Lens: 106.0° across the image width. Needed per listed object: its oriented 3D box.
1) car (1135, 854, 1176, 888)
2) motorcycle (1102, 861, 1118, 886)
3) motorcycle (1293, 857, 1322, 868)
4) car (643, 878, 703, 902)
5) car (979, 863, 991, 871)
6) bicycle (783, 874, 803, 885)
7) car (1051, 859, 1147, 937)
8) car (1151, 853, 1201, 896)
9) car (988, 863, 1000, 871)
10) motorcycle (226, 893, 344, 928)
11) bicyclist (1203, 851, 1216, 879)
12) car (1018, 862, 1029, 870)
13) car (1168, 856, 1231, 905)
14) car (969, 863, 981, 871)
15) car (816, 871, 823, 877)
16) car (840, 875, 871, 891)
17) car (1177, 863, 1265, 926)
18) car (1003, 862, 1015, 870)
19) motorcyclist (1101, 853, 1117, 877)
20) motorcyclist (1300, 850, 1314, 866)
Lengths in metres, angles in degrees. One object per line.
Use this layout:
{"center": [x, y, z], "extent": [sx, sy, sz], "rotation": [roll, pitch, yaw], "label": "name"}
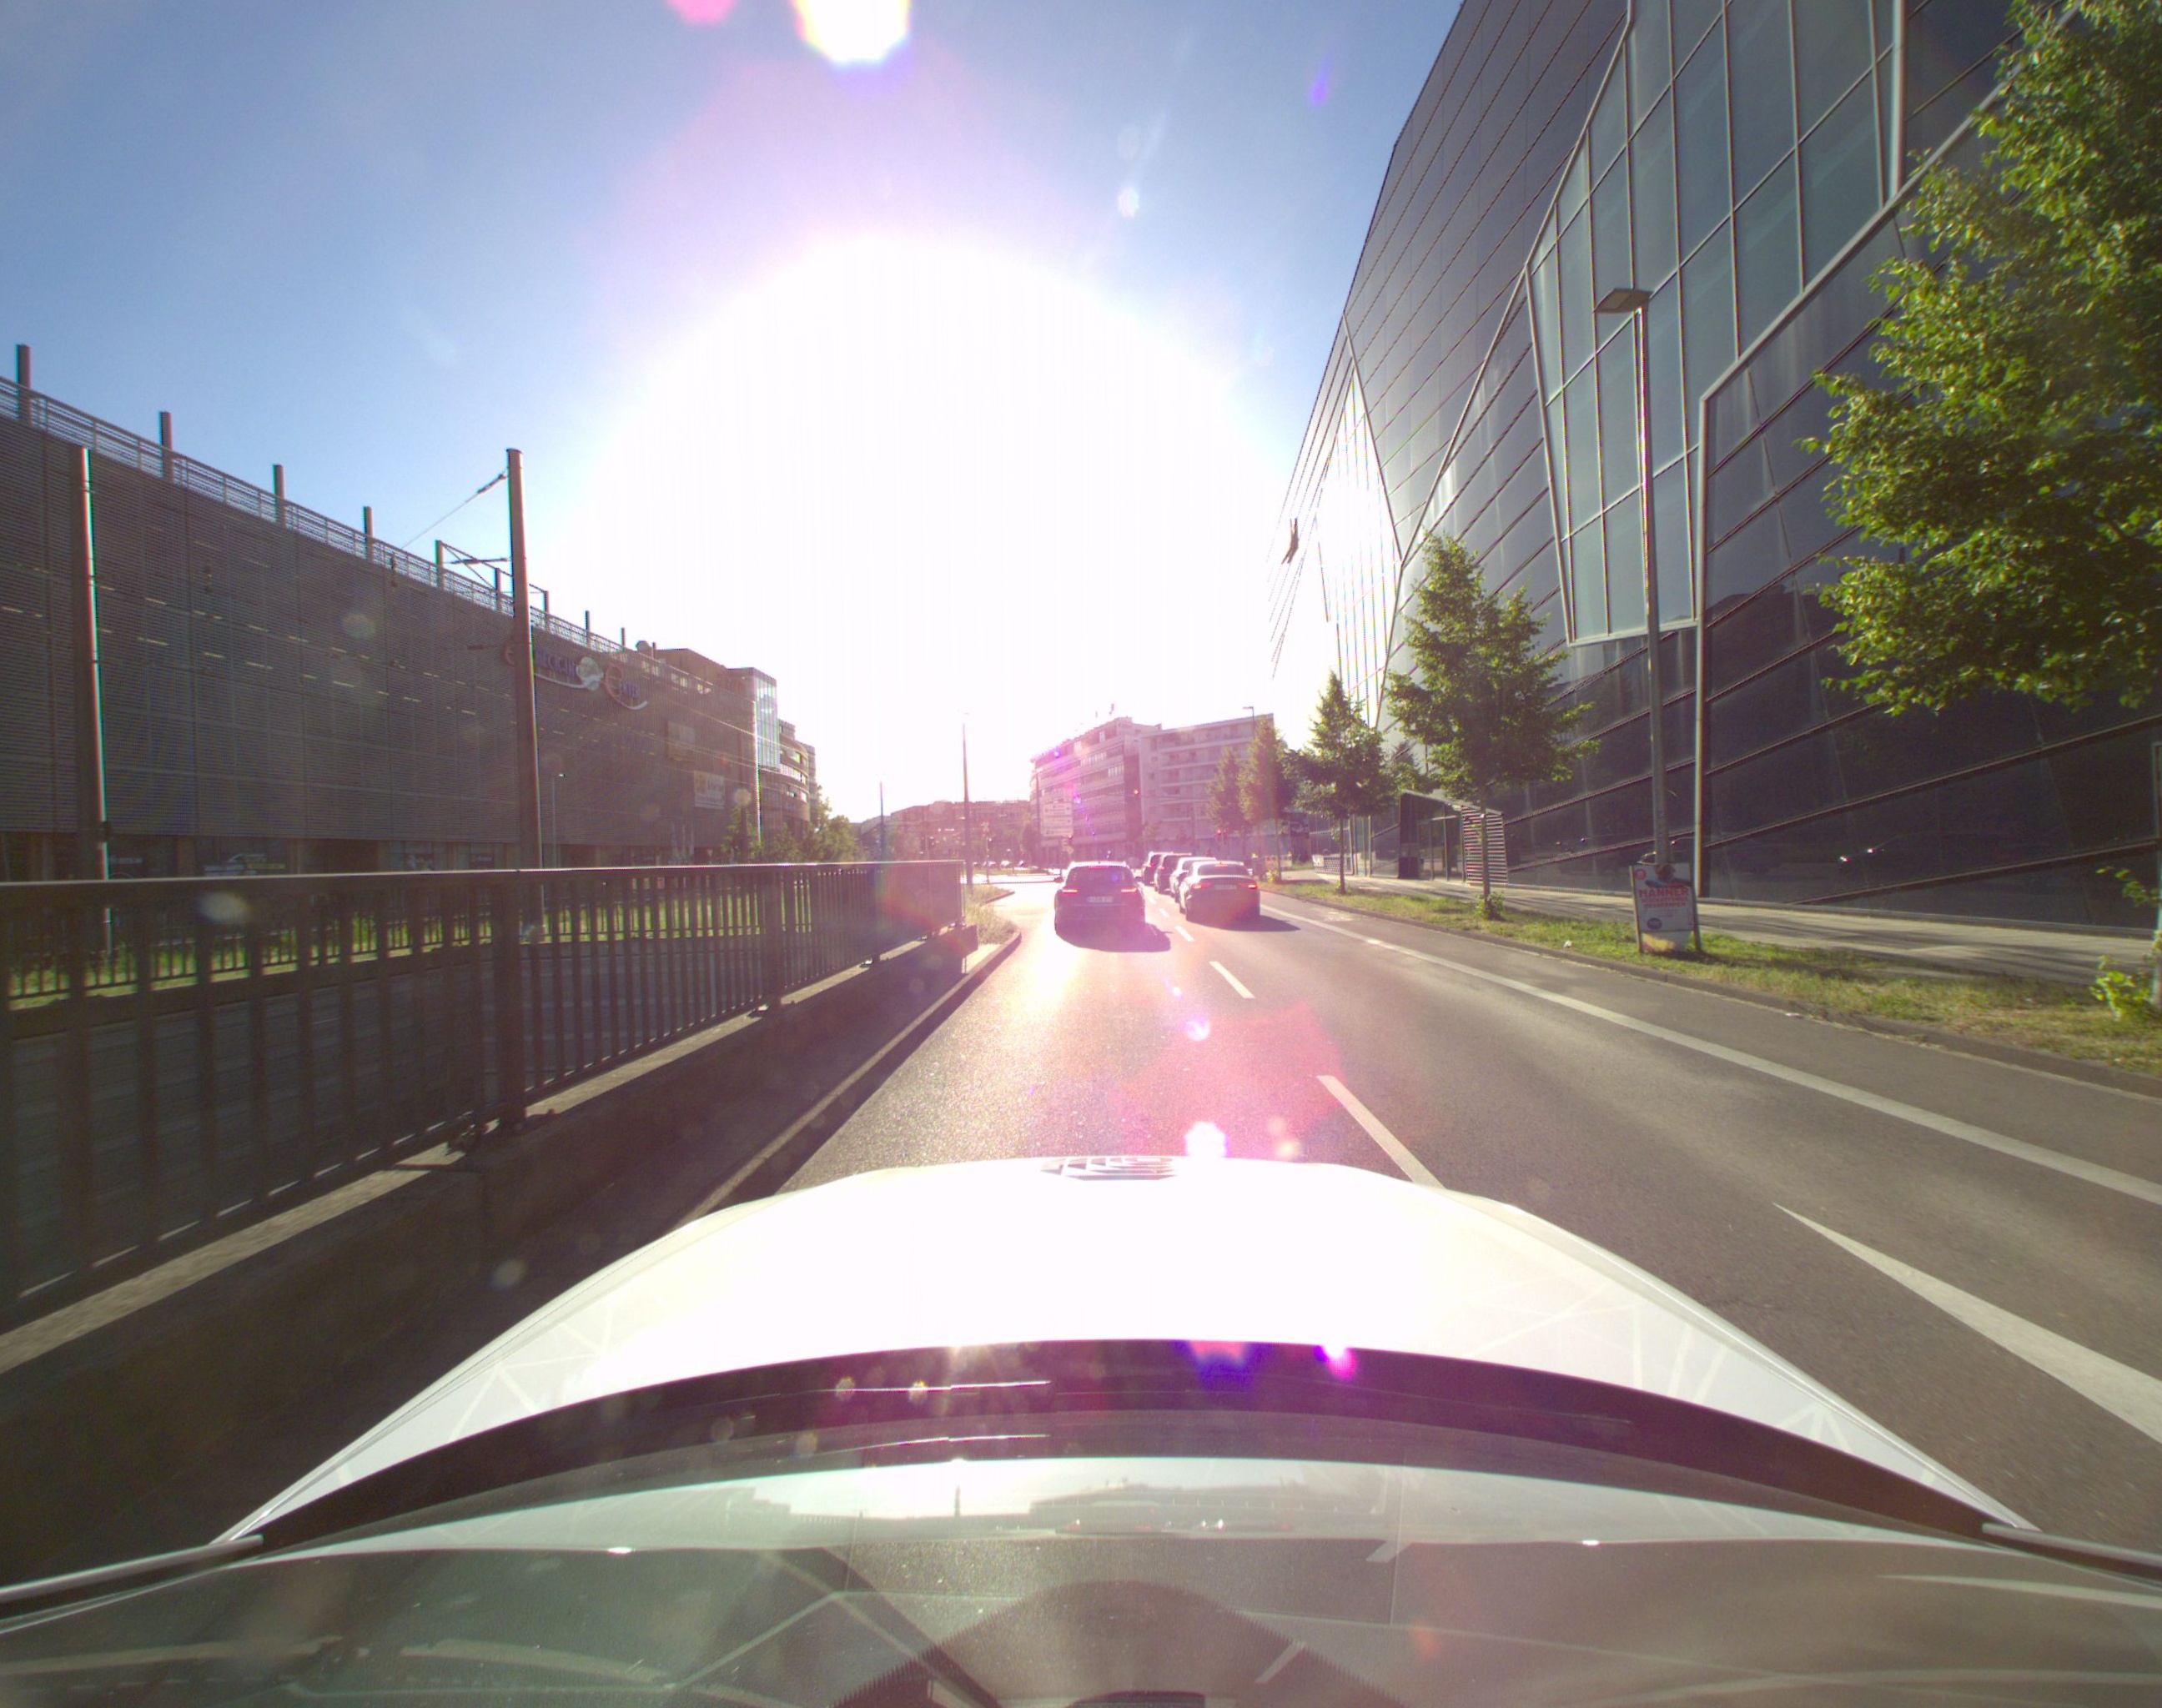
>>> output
{"center": [3.981, 0.878, 44.171], "extent": [1.995, 1.715, 4.374], "rotation": [-1, 0, 2], "label": "car"}
{"center": [1.701, 1.092, 47.006], "extent": [0.859, 1.393, 1.894], "rotation": [-2, -1, 2], "label": "motorcycle"}
{"center": [22.462, 0.881, 80.790], "extent": [2.447, 1.000, 1.170], "rotation": [-2, -1, -4], "label": "motorcycle"}
{"center": [-29.593, 2.610, 59.208], "extent": [1.985, 1.500, 4.246], "rotation": [-2, 0, 3], "label": "car"}
{"center": [-21.219, 2.877, 180.089], "extent": [1.998, 1.706, 3.977], "rotation": [-3, -1, -16], "label": "car"}
{"center": [-42.041, 3.693, 118.756], "extent": [2.545, 1.433, 0.907], "rotation": [-3, -1, 10], "label": "bicycle"}
{"center": [0.406, 0.859, 17.652], "extent": [1.835, 1.454, 4.002], "rotation": [-1, 0, 2], "label": "car"}
{"center": [3.967, 0.839, 34.459], "extent": [1.739, 1.696, 4.263], "rotation": [-2, -1, 2], "label": "car"}
{"center": [-18.697, 2.729, 174.249], "extent": [1.996, 1.596, 3.981], "rotation": [-3, -1, -13], "label": "car"}
{"center": [-40.875, 2.857, 41.972], "extent": [1.986, 1.453, 4.002], "rotation": [-2, 0, 2], "label": "motorcycle"}
{"center": [7.729, 0.645, 48.932], "extent": [0.651, 1.642, 0.973], "rotation": [-2, 0, 5], "label": "bicyclist"}
{"center": [-12.992, 2.648, 184.235], "extent": [1.995, 1.596, 3.982], "rotation": [-3, -1, -12], "label": "car"}
{"center": [4.006, 0.865, 28.222], "extent": [1.738, 1.481, 4.632], "rotation": [-2, -1, 3], "label": "car"}
{"center": [-23.275, 2.893, 179.287], "extent": [1.998, 1.706, 3.977], "rotation": [-3, -1, -16], "label": "car"}
{"center": [-76.701, 5.822, 239.055], "extent": [1.658, 1.588, 3.330], "rotation": [-2, -1, -25], "label": "car"}
{"center": [-26.309, 3.363, 95.112], "extent": [1.984, 1.545, 4.536], "rotation": [-2, 0, 5], "label": "car"}
{"center": [3.401, 0.929, 20.472], "extent": [1.738, 1.392, 4.268], "rotation": [-1, -1, 4], "label": "car"}
{"center": [-15.253, 2.505, 171.943], "extent": [1.995, 1.596, 3.983], "rotation": [-3, -1, -12], "label": "car"}
{"center": [1.632, 0.652, 46.858], "extent": [0.859, 1.326, 0.681], "rotation": [-2, -1, 2], "label": "motorcyclist"}
{"center": [22.395, 0.395, 80.795], "extent": [0.923, 1.481, 1.170], "rotation": [-2, -1, -3], "label": "motorcyclist"}
